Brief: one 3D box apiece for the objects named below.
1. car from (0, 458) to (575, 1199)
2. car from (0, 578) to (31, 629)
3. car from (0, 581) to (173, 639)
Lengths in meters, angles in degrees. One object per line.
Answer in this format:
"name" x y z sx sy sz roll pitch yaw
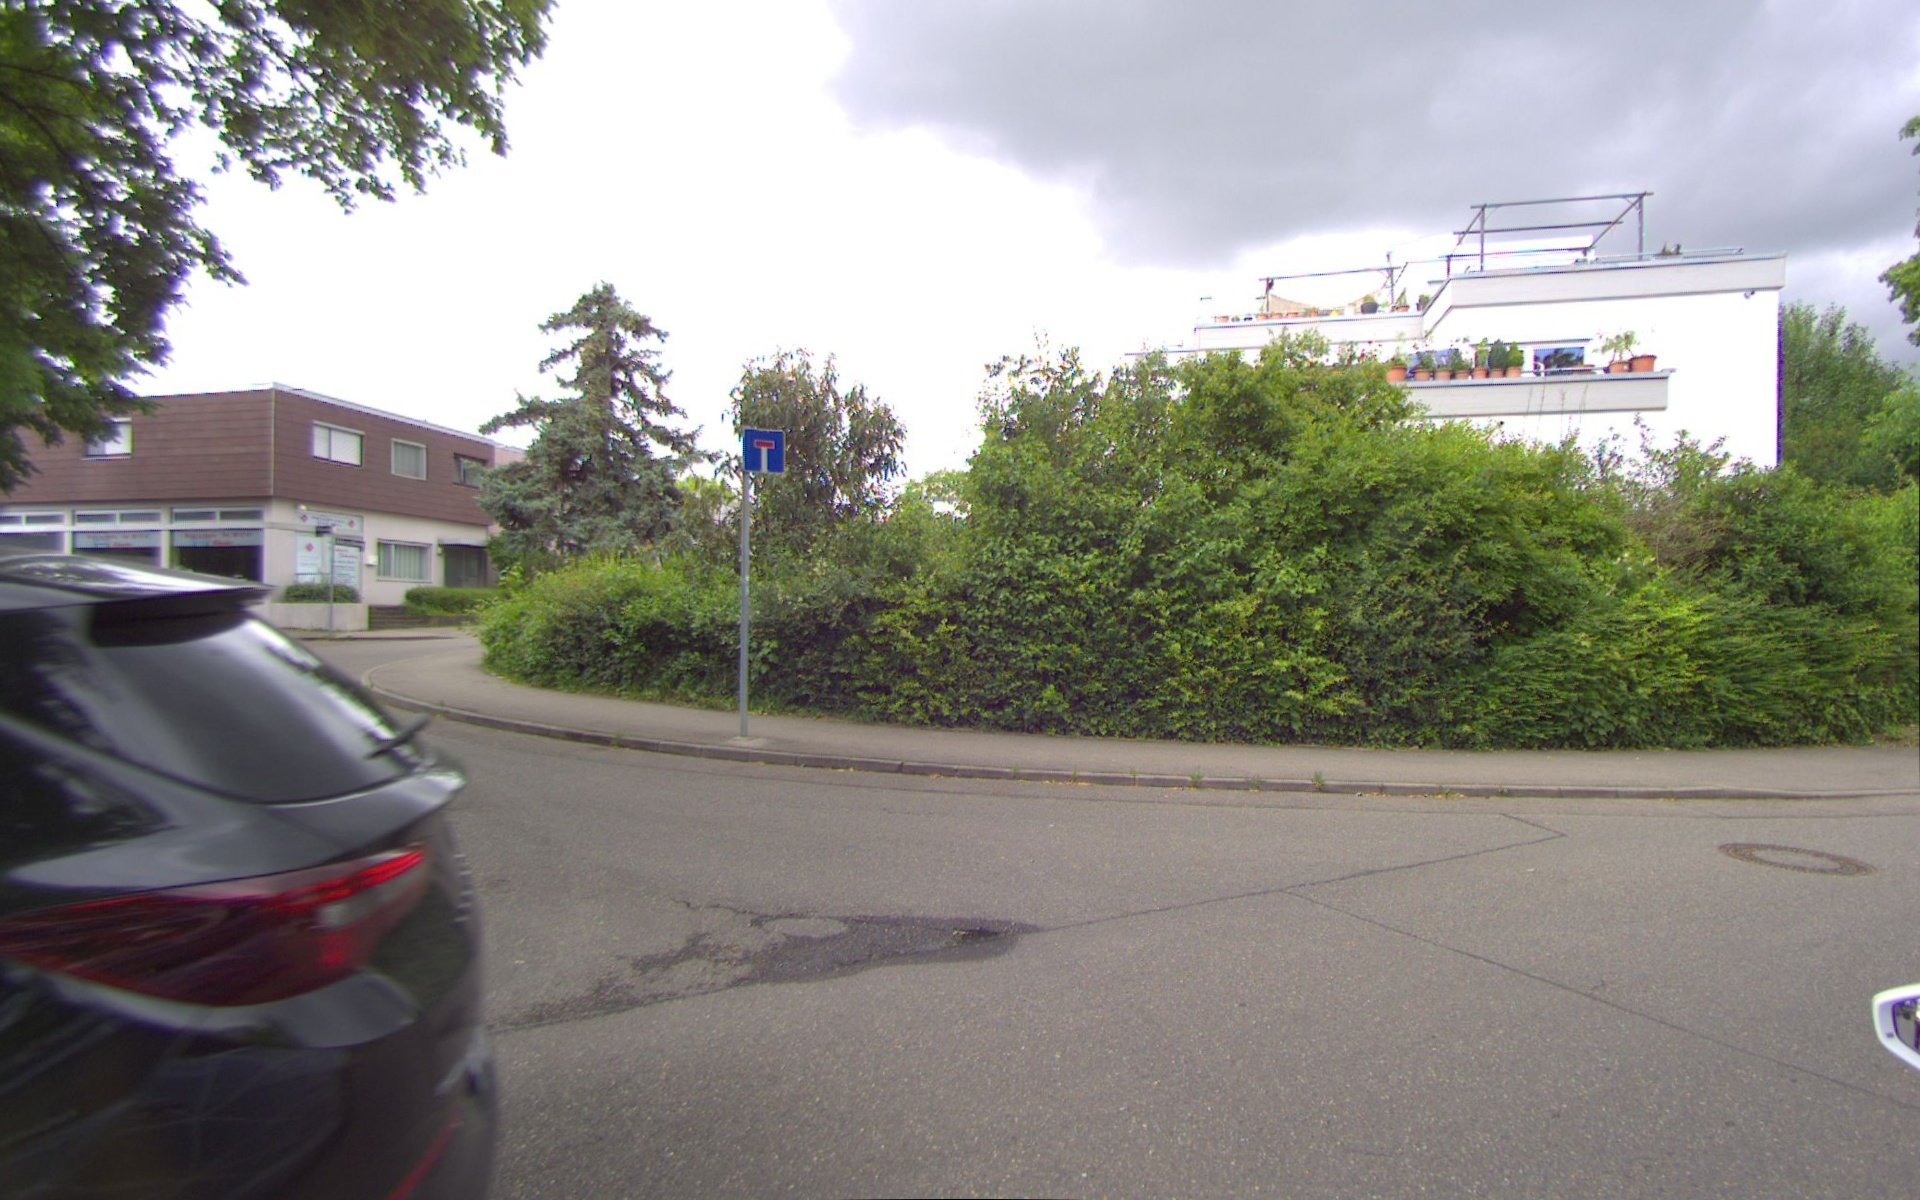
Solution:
"car" -2.763 0.641 1.020 4.243 1.613 1.795 1 0 -29
"car" -28.174 0.083 27.572 3.919 1.394 1.976 1 1 11
"car" -23.363 0.228 26.401 4.192 1.395 2.001 1 2 13
